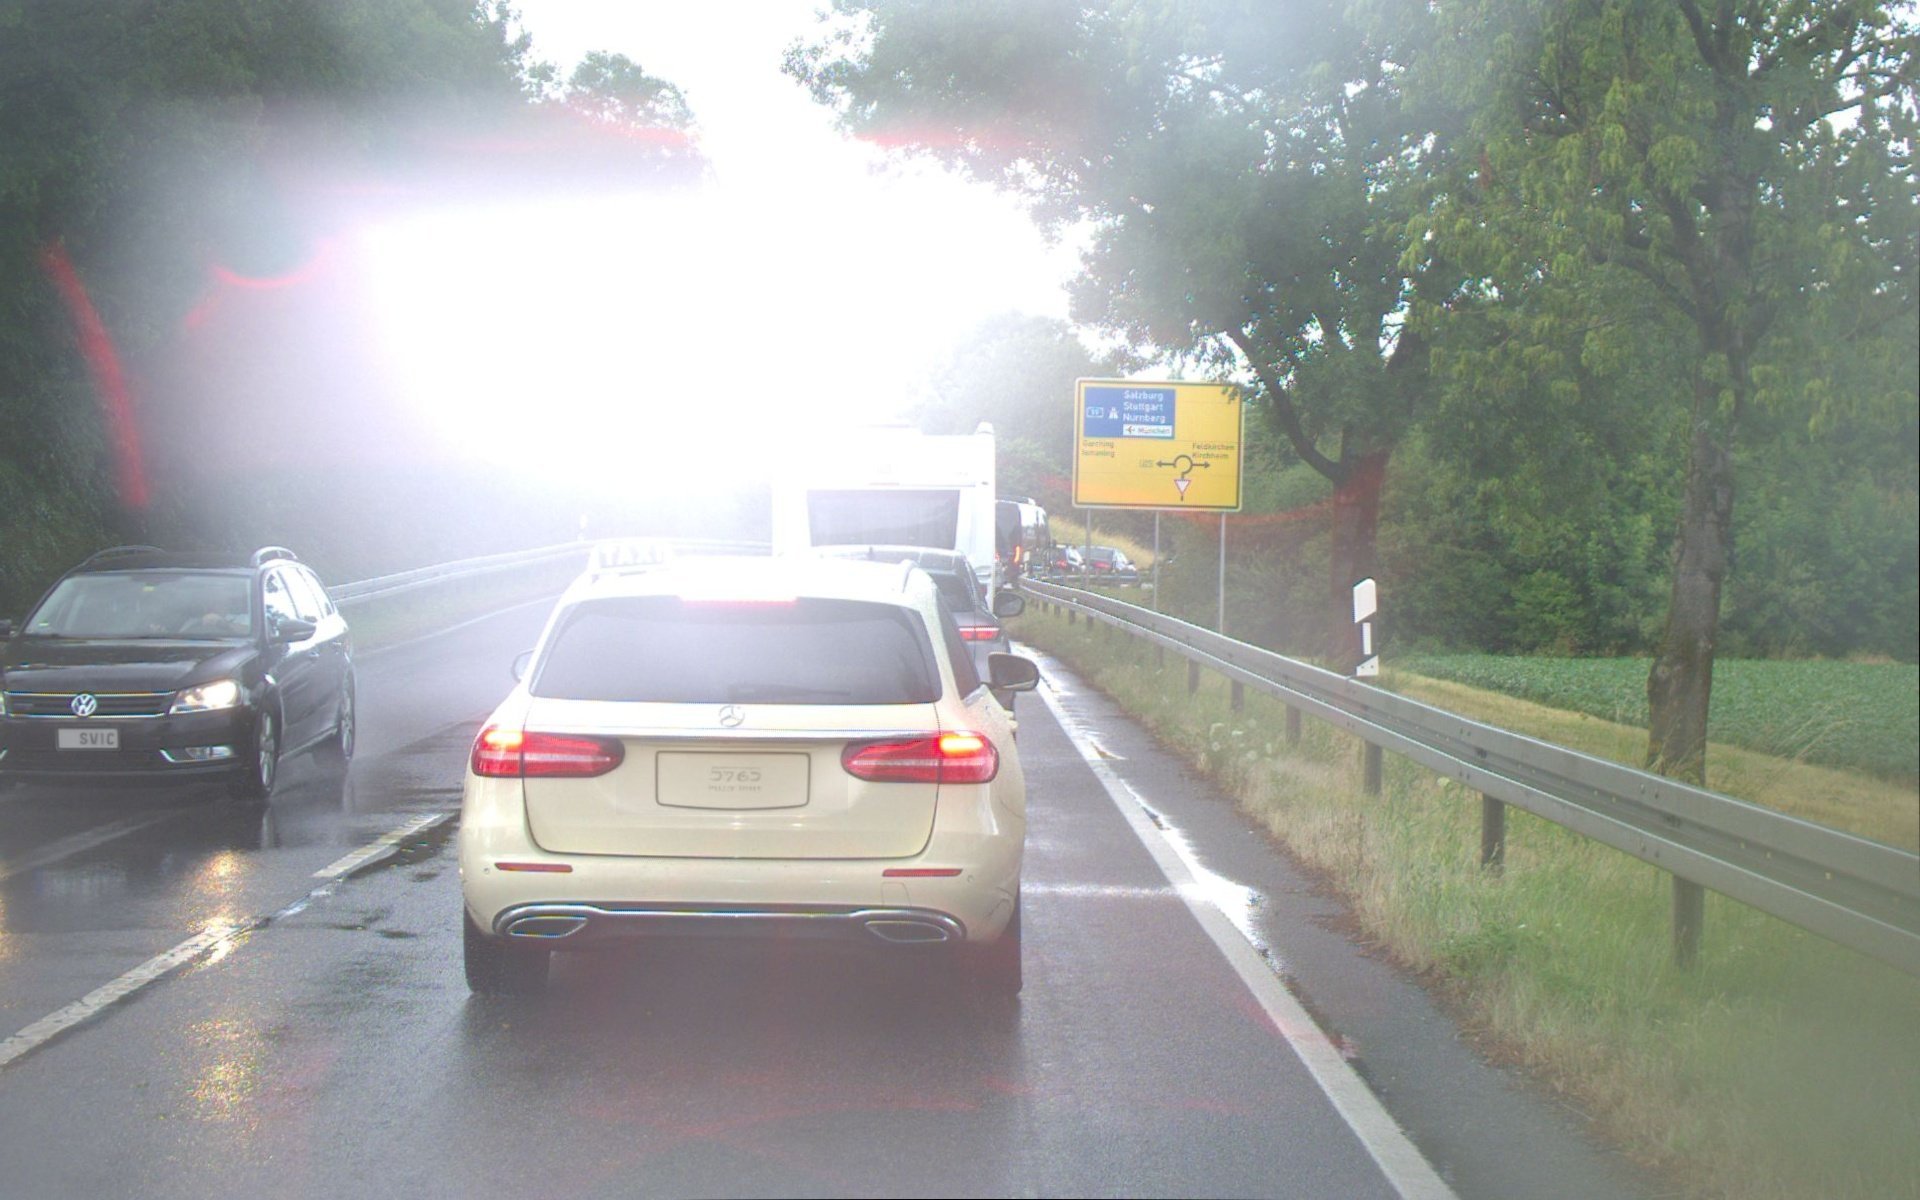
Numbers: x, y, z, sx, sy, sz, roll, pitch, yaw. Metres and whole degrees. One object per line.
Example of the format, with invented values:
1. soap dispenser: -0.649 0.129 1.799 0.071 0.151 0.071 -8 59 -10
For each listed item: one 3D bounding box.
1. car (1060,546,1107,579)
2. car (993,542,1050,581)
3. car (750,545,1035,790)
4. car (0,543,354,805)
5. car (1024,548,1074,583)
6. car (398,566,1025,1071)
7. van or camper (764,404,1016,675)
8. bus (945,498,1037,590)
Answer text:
1. car: 4.238 -1.281 118.249 1.552 1.114 4.000 0 1 2
2. car: 1.798 -1.136 101.484 1.551 1.114 4.000 0 1 -1
3. car: -0.368 0.366 22.117 1.664 1.426 4.000 0 1 1
4. car: -4.867 0.379 21.108 1.628 1.433 3.960 1 1 -1
5. car: 2.844 -1.114 110.707 1.551 1.114 4.000 0 1 1
6. car: -0.711 0.630 12.231 1.865 1.471 4.000 0 1 1
7. van or camper: -0.657 -0.652 37.063 2.489 2.676 5.700 1 1 1
8. bus: 0.673 -1.269 77.705 1.993 2.007 4.000 0 1 -1
